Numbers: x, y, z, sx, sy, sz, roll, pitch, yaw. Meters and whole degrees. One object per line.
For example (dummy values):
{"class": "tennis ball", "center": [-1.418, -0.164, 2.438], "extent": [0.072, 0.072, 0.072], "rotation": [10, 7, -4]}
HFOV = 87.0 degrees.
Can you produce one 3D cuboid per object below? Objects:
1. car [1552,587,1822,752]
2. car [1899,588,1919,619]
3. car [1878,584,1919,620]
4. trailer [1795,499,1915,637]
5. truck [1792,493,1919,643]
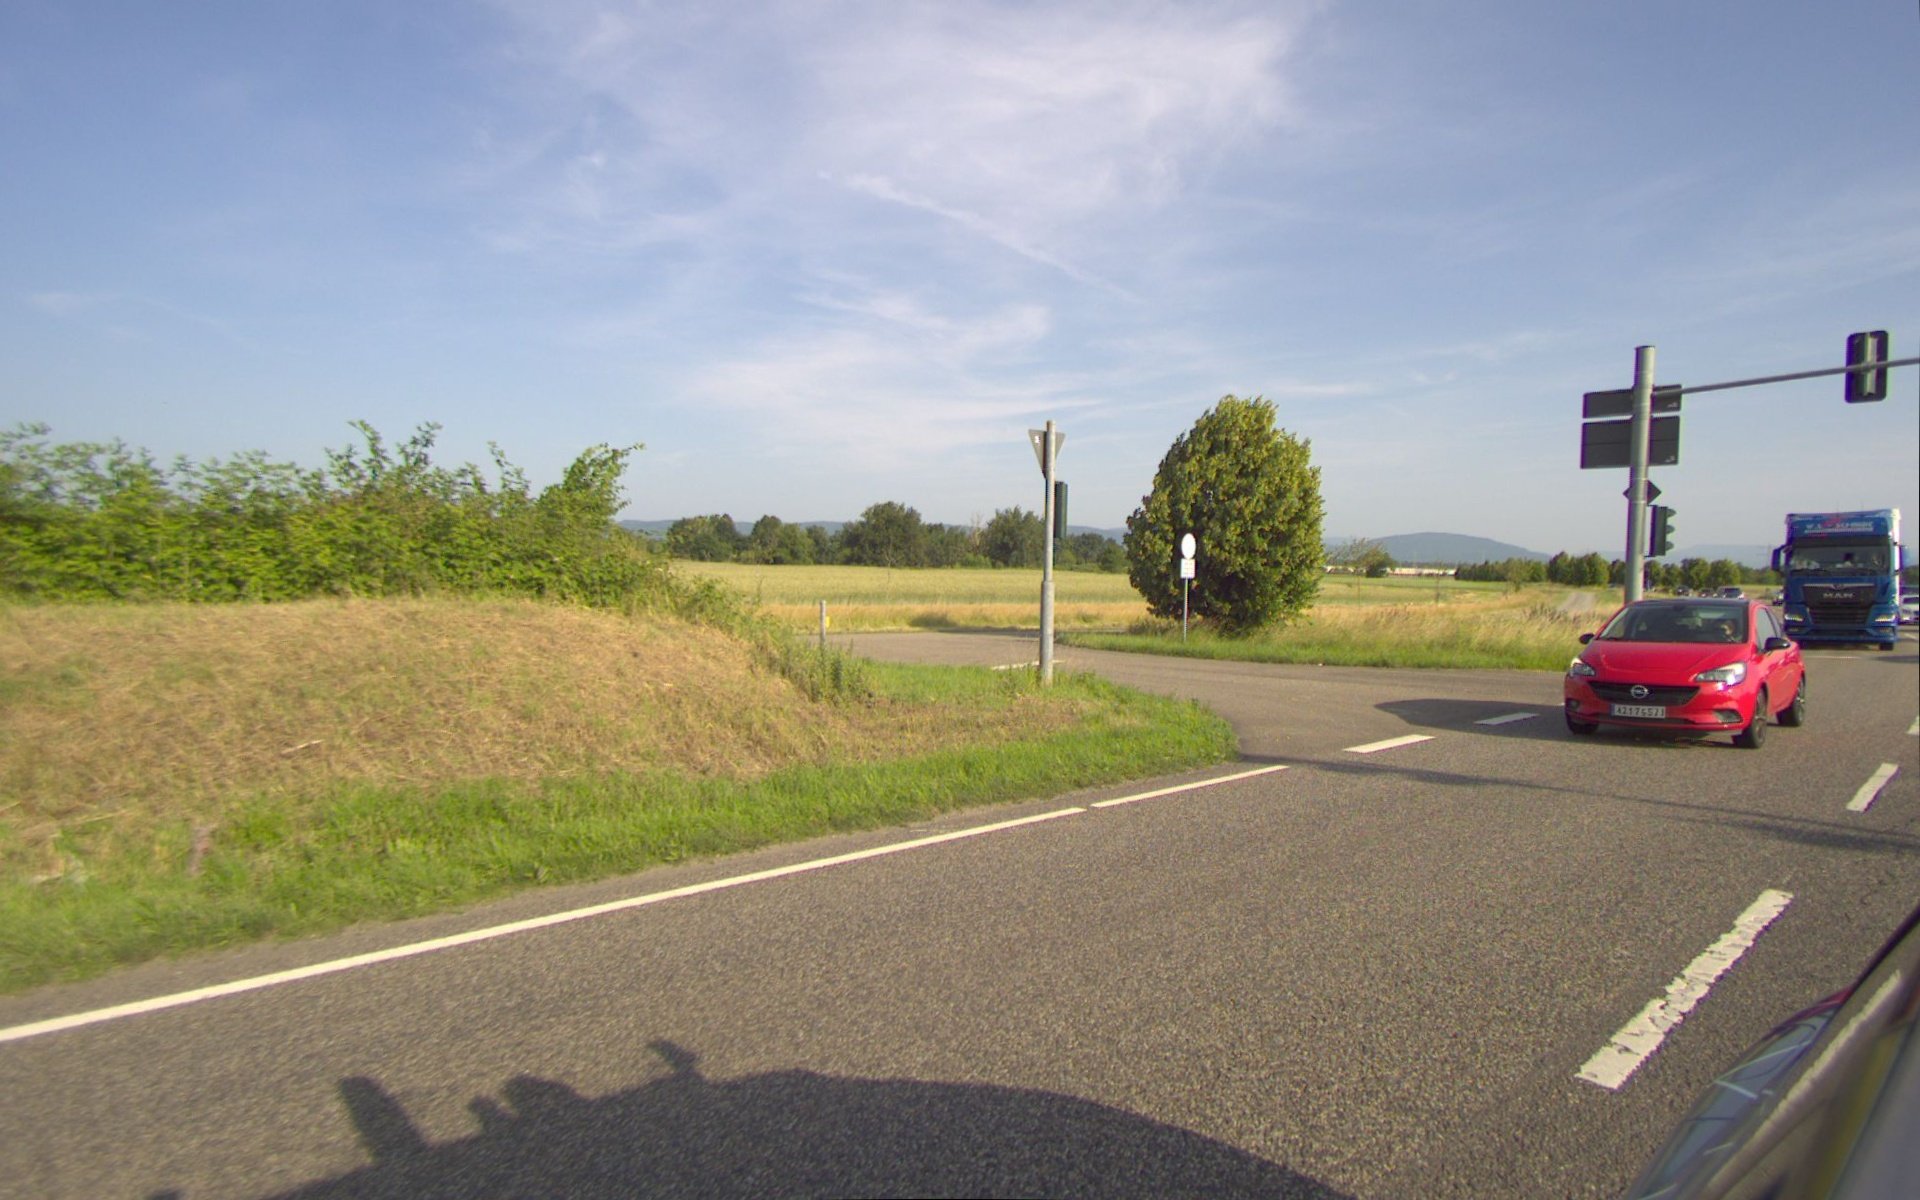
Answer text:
{"class": "car", "center": [8.046, 0.603, 11.066], "extent": [3.888, 1.482, 1.663], "rotation": [-1, 1, -43]}
{"class": "car", "center": [45.945, 0.138, 47.974], "extent": [1.686, 1.432, 3.947], "rotation": [1, 1, 37]}
{"class": "car", "center": [51.109, 0.081, 54.740], "extent": [1.823, 1.864, 3.945], "rotation": [1, 1, 38]}
{"class": "trailer", "center": [31.192, -0.994, 35.483], "extent": [2.642, 4.029, 13.725], "rotation": [0, 0, 41]}
{"class": "truck", "center": [26.381, -0.886, 29.839], "extent": [2.642, 3.969, 5.861], "rotation": [0, 0, 42]}
